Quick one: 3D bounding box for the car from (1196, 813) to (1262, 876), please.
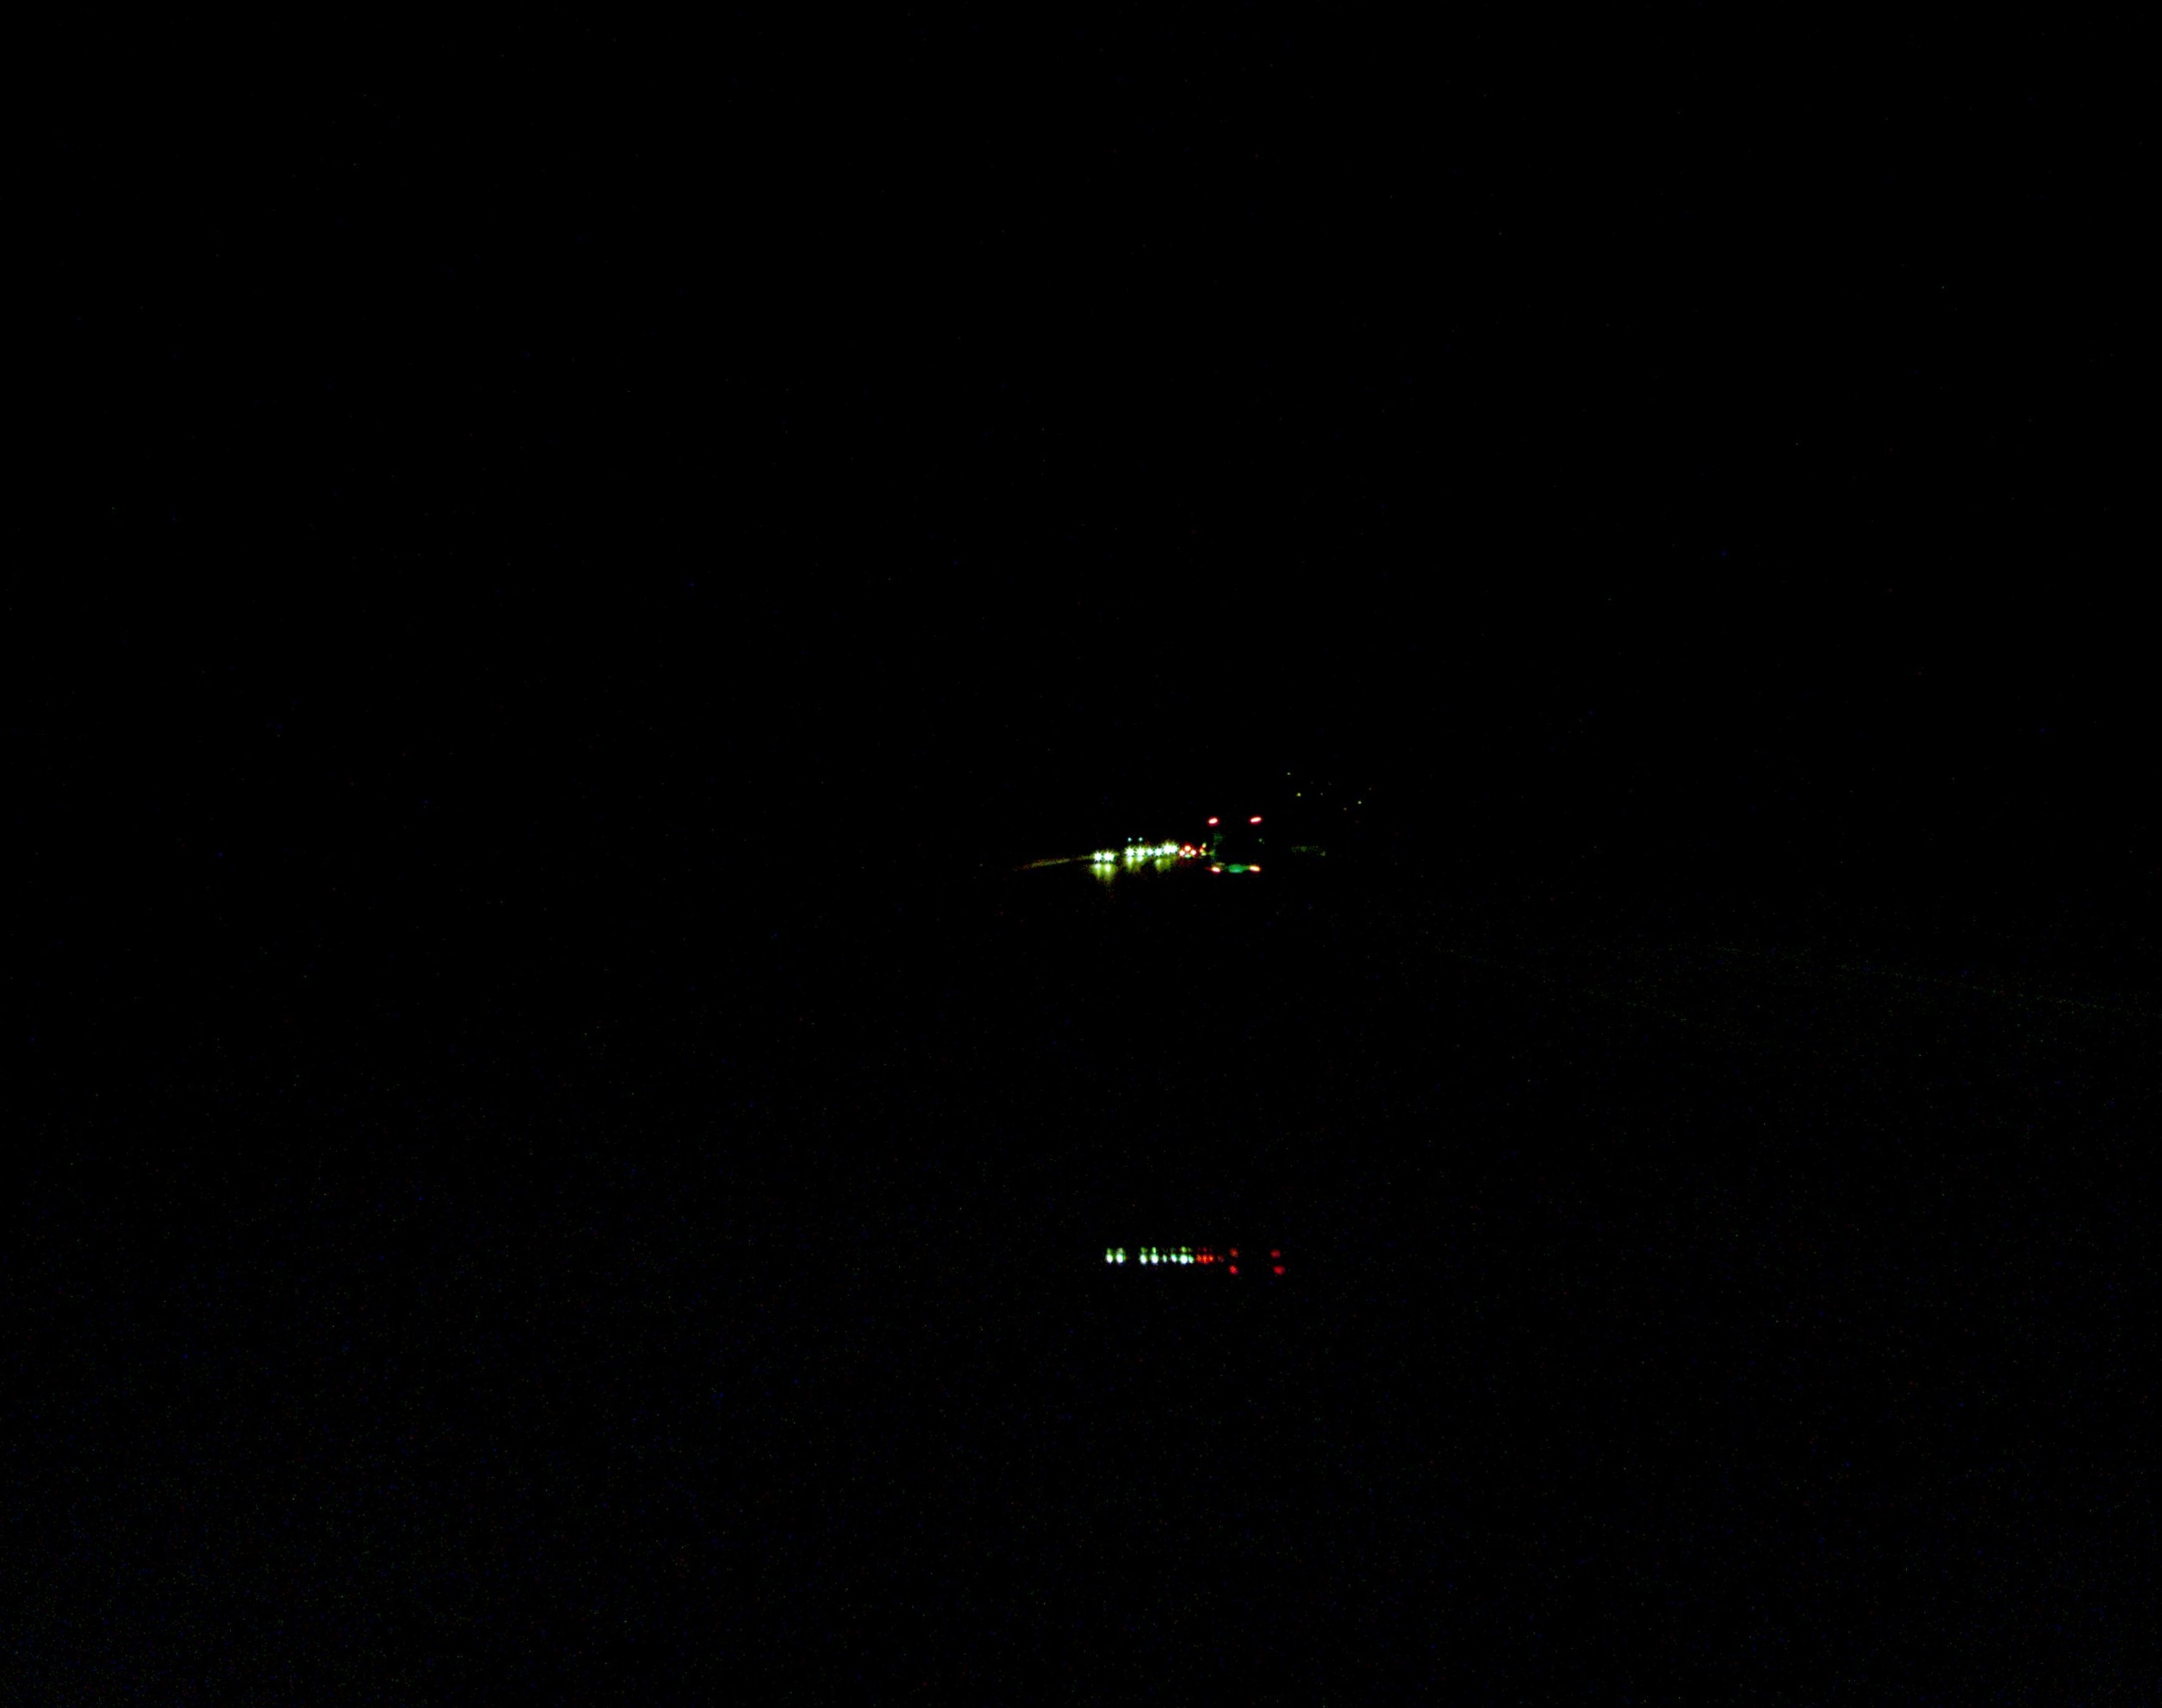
[{"bbox_3d":[7.961,-0.561,41.716,2.492,3.088,7.384,-1,2,3],"label":"car"}]

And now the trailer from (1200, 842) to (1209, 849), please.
[{"bbox_3d":[28.543,-2.031,175.957,2.017,1.630,3.418,-1,2,8],"label":"trailer"}]

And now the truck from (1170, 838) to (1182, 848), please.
[{"bbox_3d":[23.355,-2.781,186.934,2.424,2.410,7.097,-1,1,12],"label":"truck"}]

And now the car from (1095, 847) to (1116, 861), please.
[{"bbox_3d":[2.780,0.017,85.237,1.811,1.508,3.938,-1,0,9],"label":"car"}]

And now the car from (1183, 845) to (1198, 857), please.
[{"bbox_3d":[13.524,-0.395,93.852,1.687,1.450,4.202,-1,1,9],"label":"car"}]

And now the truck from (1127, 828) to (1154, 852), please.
[{"bbox_3d":[11.473,-2.816,144.207,2.969,4.251,17.155,-1,2,11],"label":"truck"}]

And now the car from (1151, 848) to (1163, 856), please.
[{"bbox_3d":[13.592,-0.345,135.231,1.811,1.508,3.938,-1,0,9],"label":"car"}]
